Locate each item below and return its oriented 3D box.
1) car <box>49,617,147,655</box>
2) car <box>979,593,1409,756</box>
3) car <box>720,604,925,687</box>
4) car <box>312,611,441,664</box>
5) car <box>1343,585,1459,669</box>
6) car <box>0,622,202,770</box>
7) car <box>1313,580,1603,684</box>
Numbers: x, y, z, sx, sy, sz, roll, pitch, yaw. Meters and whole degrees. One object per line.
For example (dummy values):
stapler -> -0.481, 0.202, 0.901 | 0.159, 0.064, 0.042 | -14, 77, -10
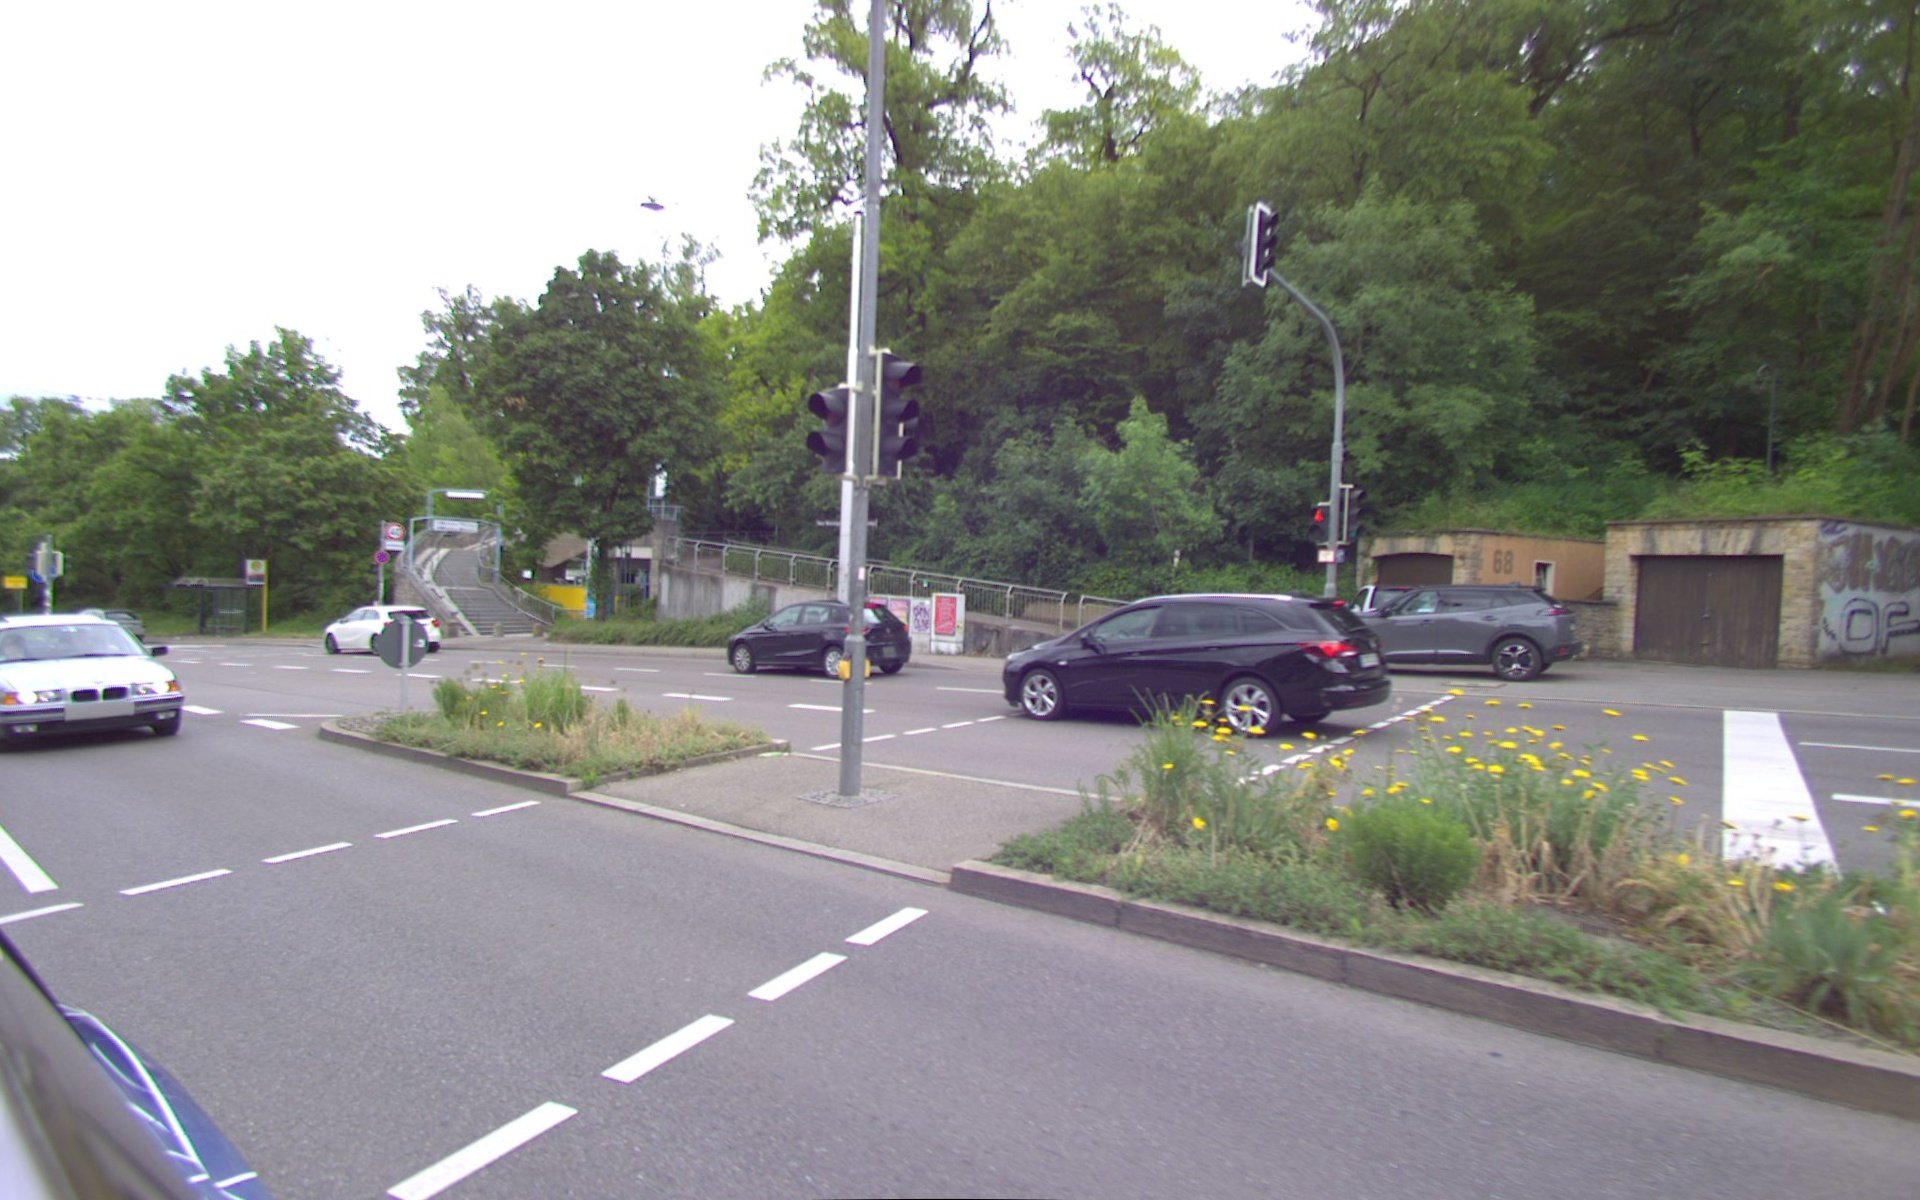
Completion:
car -> -35.381, 1.492, 41.530 | 4.548, 1.459, 1.640 | -2, 0, 30
car -> 2.510, 0.730, 11.646 | 4.553, 1.512, 1.674 | -1, 0, 41
car -> -2.699, 0.842, 19.521 | 3.849, 1.404, 1.611 | -2, 1, 36
car -> -17.478, 1.115, 30.252 | 4.132, 1.403, 1.638 | -2, 1, 33
car -> 9.080, 0.513, 21.030 | 1.546, 1.531, 2.704 | -1, 2, 9
car -> -10.698, 0.998, 11.958 | 4.610, 1.404, 1.735 | -2, 0, 39
car -> 8.262, 0.529, 16.975 | 4.127, 1.551, 1.578 | -2, -1, 38
